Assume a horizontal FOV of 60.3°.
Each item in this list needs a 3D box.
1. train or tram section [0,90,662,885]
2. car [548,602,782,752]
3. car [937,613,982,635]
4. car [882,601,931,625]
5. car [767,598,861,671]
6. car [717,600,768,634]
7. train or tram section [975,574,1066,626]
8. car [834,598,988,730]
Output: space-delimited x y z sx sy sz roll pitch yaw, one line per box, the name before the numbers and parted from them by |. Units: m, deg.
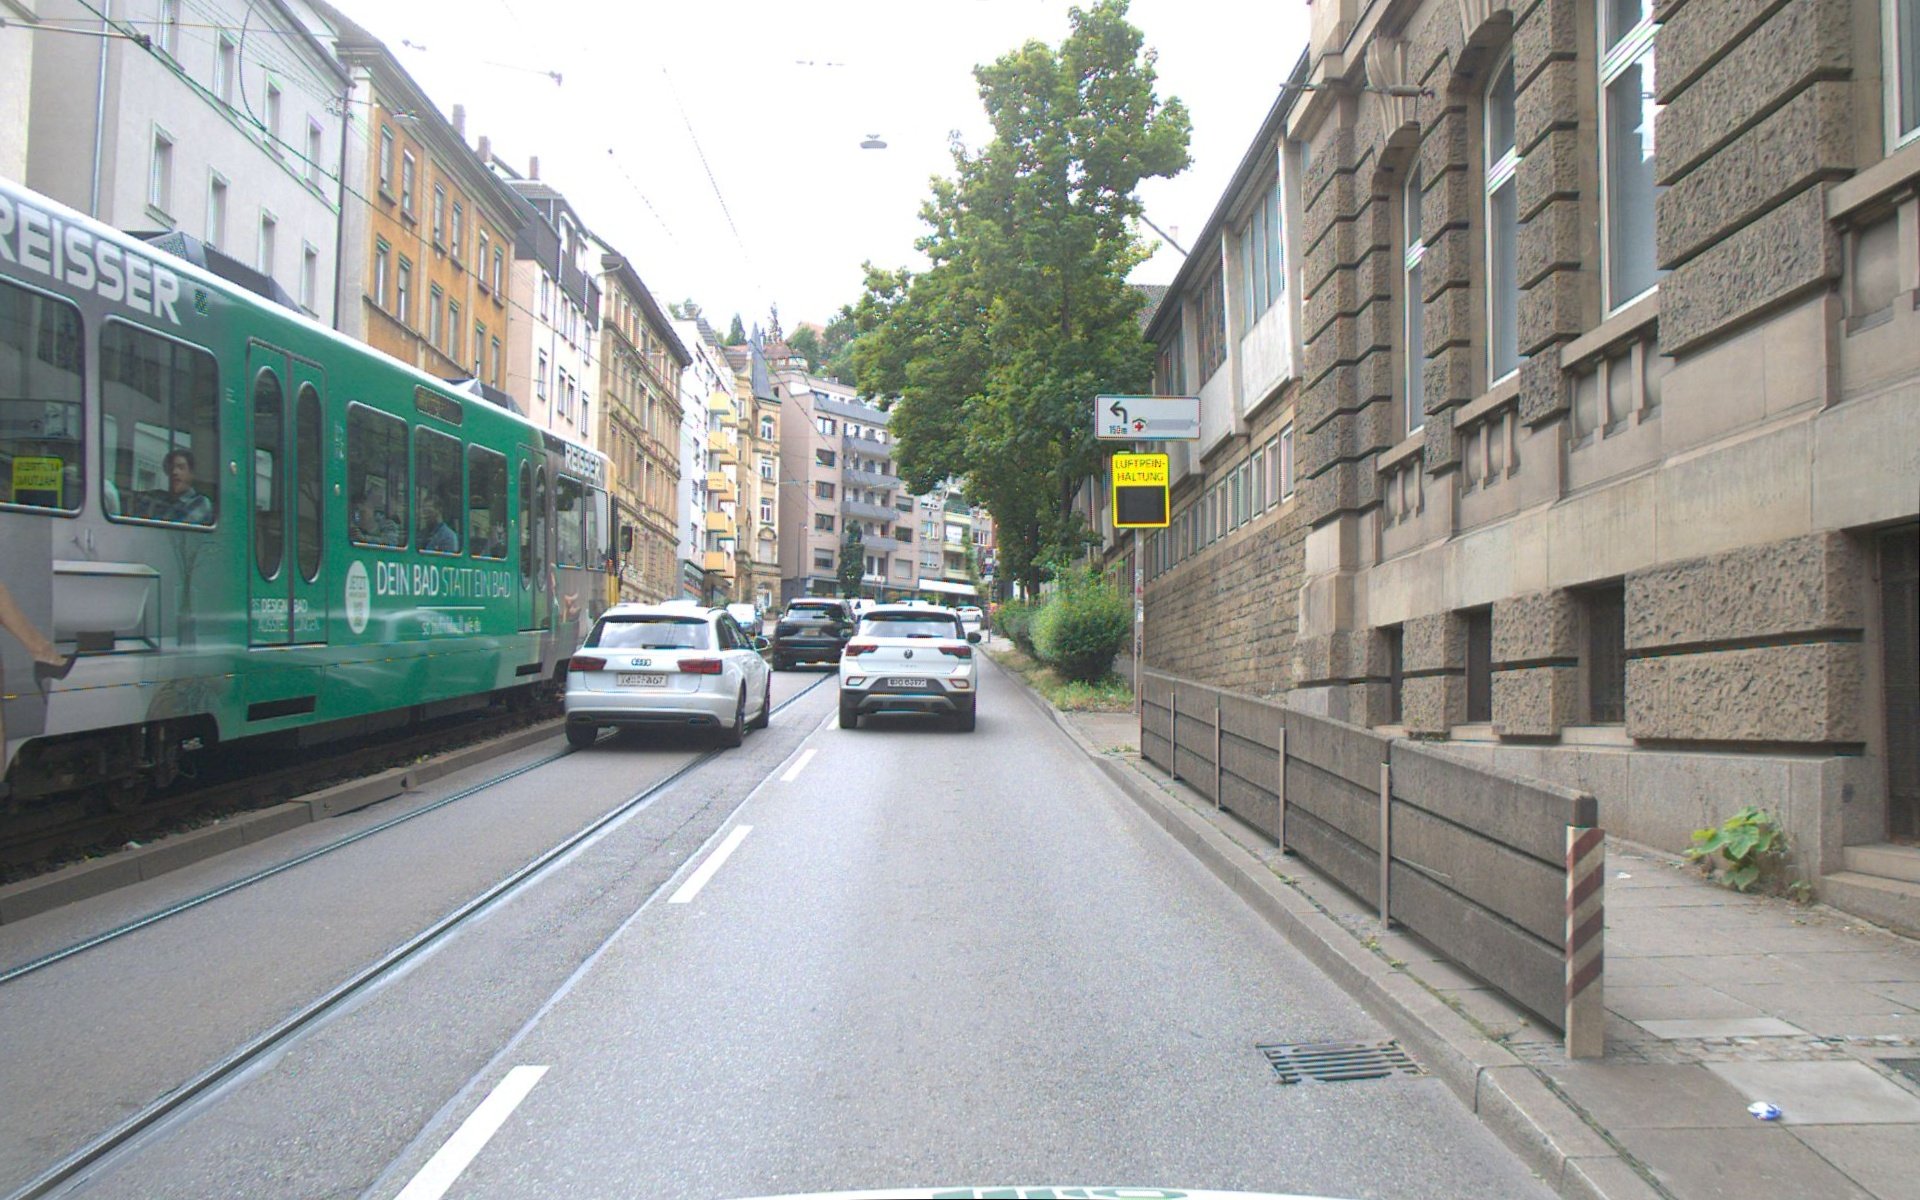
train or tram section | -6.112 -0.556 17.150 2.818 3.791 18.751 3 0 -1
car | -3.162 0.812 18.648 1.840 1.480 4.616 0 -1 0
car | -0.058 2.251 154.830 1.873 1.956 4.416 1 -1 37
car | -4.822 1.175 149.375 1.961 2.071 4.682 1 -1 37
car | -3.386 0.778 39.129 1.997 1.599 4.355 1 0 -3
car | -10.039 0.770 76.556 1.806 1.480 4.660 1 0 -1
train or tram section | 5.623 0.092 147.916 2.954 4.287 18.866 1 0 18
car | -0.685 0.801 22.132 1.841 1.582 3.997 1 -1 -3
